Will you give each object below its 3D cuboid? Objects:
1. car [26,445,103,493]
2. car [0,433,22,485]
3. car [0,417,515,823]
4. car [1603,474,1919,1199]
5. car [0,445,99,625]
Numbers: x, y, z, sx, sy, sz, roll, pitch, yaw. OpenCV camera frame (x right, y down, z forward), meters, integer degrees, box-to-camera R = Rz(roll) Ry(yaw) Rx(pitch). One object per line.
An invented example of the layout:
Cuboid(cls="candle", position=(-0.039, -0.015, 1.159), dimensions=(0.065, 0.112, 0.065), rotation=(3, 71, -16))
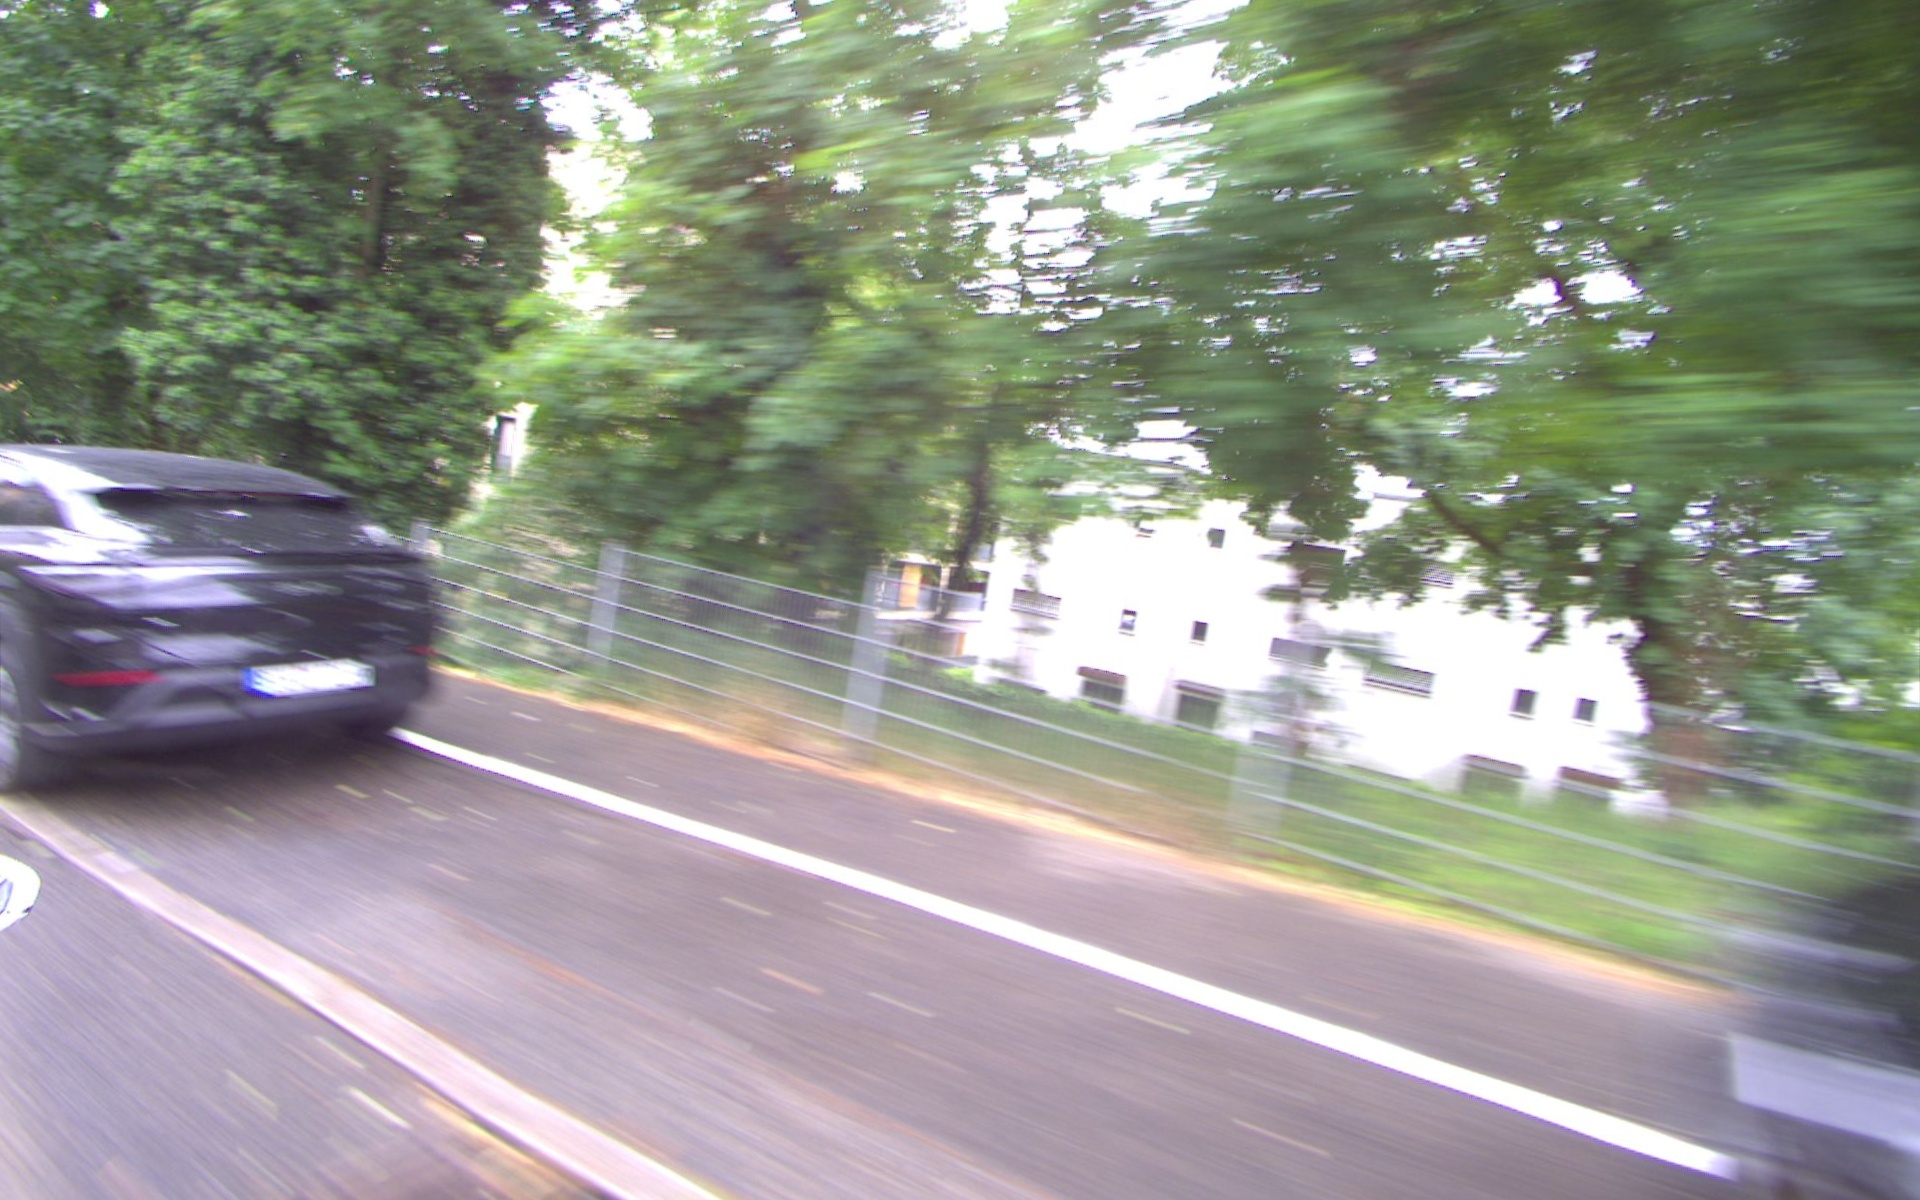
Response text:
Cuboid(cls="car", position=(-34.897, -5.138, 39.286), dimensions=(1.767, 1.448, 3.744), rotation=(8, 3, -37))
Cuboid(cls="car", position=(-35.634, -5.288, 36.609), dimensions=(1.768, 1.688, 3.742), rotation=(8, 3, -39))
Cuboid(cls="car", position=(-4.971, -0.153, 6.032), dimensions=(4.409, 1.632, 1.975), rotation=(8, 5, 30))
Cuboid(cls="car", position=(3.412, 1.005, 0.787), dimensions=(4.725, 1.707, 1.820), rotation=(9, 5, 33))
Cuboid(cls="car", position=(-9.807, -0.760, 8.865), dimensions=(4.041, 1.473, 1.977), rotation=(8, 4, 27))
